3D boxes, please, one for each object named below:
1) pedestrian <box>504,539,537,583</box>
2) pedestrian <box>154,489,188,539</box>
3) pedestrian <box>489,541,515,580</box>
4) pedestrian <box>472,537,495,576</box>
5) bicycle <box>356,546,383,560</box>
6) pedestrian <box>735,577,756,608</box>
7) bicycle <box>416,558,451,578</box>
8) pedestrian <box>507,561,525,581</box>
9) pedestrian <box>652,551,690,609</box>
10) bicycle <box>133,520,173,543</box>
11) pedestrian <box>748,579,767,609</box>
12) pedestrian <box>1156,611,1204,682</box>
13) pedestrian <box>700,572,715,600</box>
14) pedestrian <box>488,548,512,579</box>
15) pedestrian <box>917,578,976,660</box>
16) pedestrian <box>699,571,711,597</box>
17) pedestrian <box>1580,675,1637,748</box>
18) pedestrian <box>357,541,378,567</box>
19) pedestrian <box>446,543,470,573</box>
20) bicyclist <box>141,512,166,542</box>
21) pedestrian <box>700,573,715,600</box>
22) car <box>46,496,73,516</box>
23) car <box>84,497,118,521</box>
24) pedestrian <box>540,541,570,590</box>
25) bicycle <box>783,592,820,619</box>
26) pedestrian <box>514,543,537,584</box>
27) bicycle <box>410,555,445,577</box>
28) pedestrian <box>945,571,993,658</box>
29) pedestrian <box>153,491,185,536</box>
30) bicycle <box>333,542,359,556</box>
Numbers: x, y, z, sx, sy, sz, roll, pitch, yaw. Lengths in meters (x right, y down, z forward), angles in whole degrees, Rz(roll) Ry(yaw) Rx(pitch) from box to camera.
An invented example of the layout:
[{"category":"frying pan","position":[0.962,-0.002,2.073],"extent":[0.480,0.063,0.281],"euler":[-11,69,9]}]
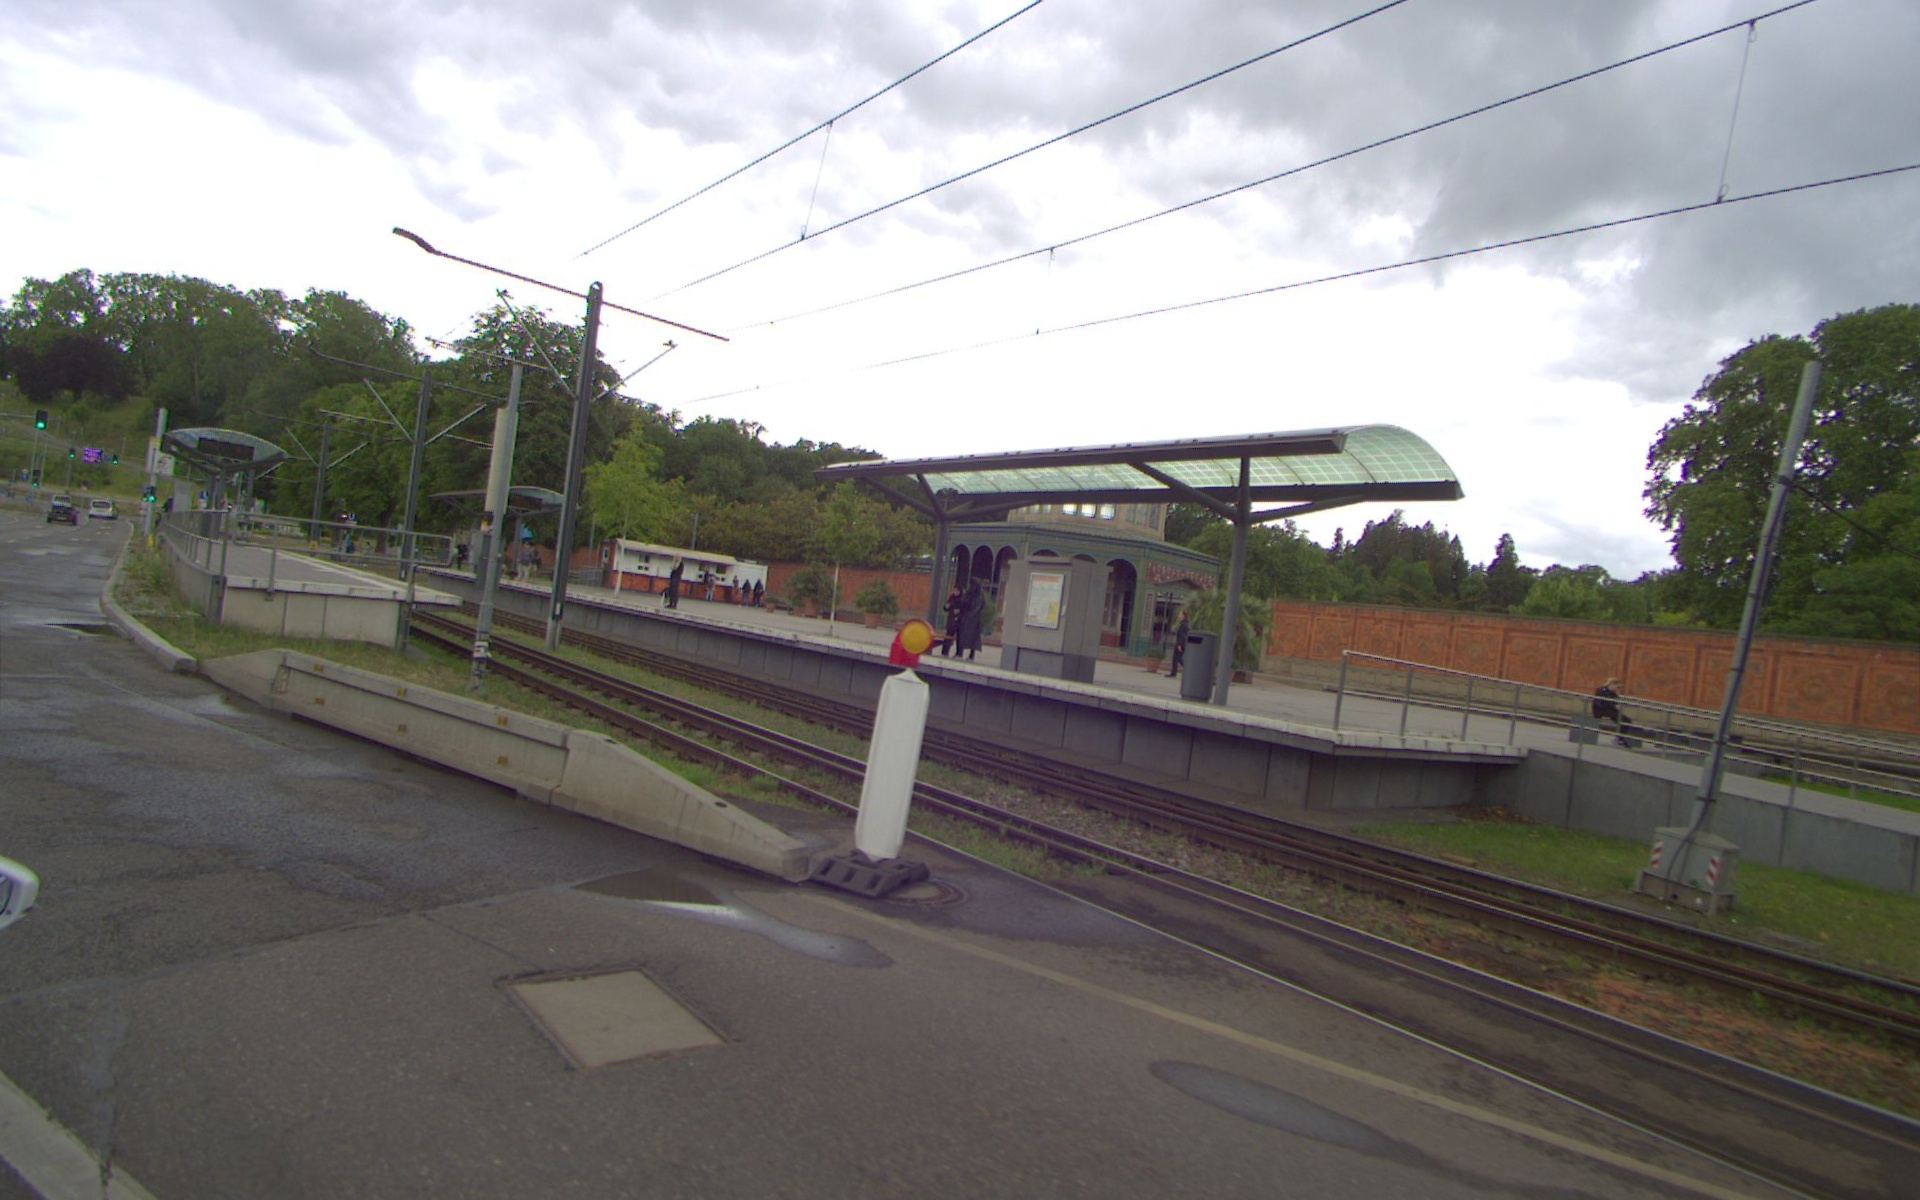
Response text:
[{"category":"pedestrian","position":[-18.930,-1.670,43.318],"extent":[0.751,1.695,0.860],"euler":[7,-3,40]},{"category":"pedestrian","position":[-29.422,-3.206,37.514],"extent":[0.767,1.719,0.723],"euler":[10,0,-38]},{"category":"pedestrian","position":[-21.286,-1.831,46.732],"extent":[0.672,1.695,0.668],"euler":[10,-2,-43]},{"category":"pedestrian","position":[-21.954,-2.021,46.355],"extent":[0.543,1.695,0.667],"euler":[10,-2,-43]},{"category":"bicycle","position":[-49.970,-3.971,85.146],"extent":[1.904,0.906,0.525],"euler":[8,0,-40]},{"category":"pedestrian","position":[-11.995,-0.430,56.270],"extent":[0.613,1.600,0.655],"euler":[7,-2,37]},{"category":"bicycle","position":[-34.338,-2.076,65.596],"extent":[1.867,0.973,0.527],"euler":[11,-3,-39]},{"category":"pedestrian","position":[-19.078,-1.243,43.218],"extent":[0.558,0.748,0.421],"euler":[10,-2,-31]},{"category":"pedestrian","position":[-9.011,-0.625,31.354],"extent":[0.630,1.706,0.856],"euler":[10,-2,-40]},{"category":"bicycle","position":[-46.768,-3.954,58.320],"extent":[0.608,1.087,1.685],"euler":[8,0,11]},{"category":"pedestrian","position":[-11.390,-0.342,56.616],"extent":[0.614,1.600,0.584],"euler":[7,-2,38]},{"category":"pedestrian","position":[6.210,1.302,28.462],"extent":[0.940,1.858,0.547],"euler":[7,-2,44]},{"category":"pedestrian","position":[-14.786,-0.807,58.944],"extent":[0.483,1.552,0.455],"euler":[10,-2,-37]},{"category":"pedestrian","position":[-19.796,-1.557,43.319],"extent":[0.655,1.204,0.669],"euler":[10,-2,-38]},{"category":"pedestrian","position":[-0.277,0.404,21.139],"extent":[0.773,1.558,0.761],"euler":[8,-2,28]},{"category":"pedestrian","position":[-15.127,-0.928,59.703],"extent":[0.340,1.503,0.312],"euler":[10,-2,-37]},{"category":"pedestrian","position":[11.923,2.040,18.493],"extent":[0.660,1.214,0.547],"euler":[7,-3,44]},{"category":"pedestrian","position":[-40.814,-3.186,69.336],"extent":[0.765,1.629,0.834],"euler":[7,0,28]},{"category":"pedestrian","position":[-25.381,-2.128,50.845],"extent":[0.671,1.338,0.957],"euler":[10,-3,-41]},{"category":"bicyclist","position":[-46.736,-4.206,58.303],"extent":[0.606,1.591,0.806],"euler":[8,1,12]},{"category":"pedestrian","position":[-14.660,-0.792,58.401],"extent":[0.483,1.503,0.455],"euler":[10,-2,-37]},{"category":"car","position":[-93.934,-9.801,104.918],"extent":[1.750,1.791,3.950],"euler":[11,-3,-44]},{"category":"car","position":[-88.877,-9.459,104.065],"extent":[2.196,2.037,5.087],"euler":[9,-2,-44]},{"category":"pedestrian","position":[-16.347,-1.390,40.559],"extent":[0.630,1.858,0.940],"euler":[10,-2,-38]},{"category":"bicycle","position":[-8.127,0.283,51.627],"extent":[1.684,1.073,0.565],"euler":[8,-2,20]},{"category":"pedestrian","position":[-18.299,-1.550,42.340],"extent":[0.522,1.638,0.669],"euler":[10,-2,-38]},{"category":"bicycle","position":[-35.788,-2.300,67.615],"extent":[1.867,1.151,0.527],"euler":[11,-3,-39]},{"category":"pedestrian","position":[0.177,0.296,20.437],"extent":[0.483,1.678,0.623],"euler":[10,-2,-31]},{"category":"pedestrian","position":[-29.956,-3.280,38.102],"extent":[0.747,1.571,0.766],"euler":[10,0,-38]},{"category":"bicycle","position":[-55.931,-4.646,91.711],"extent":[1.904,0.987,0.525],"euler":[8,0,-40]}]
